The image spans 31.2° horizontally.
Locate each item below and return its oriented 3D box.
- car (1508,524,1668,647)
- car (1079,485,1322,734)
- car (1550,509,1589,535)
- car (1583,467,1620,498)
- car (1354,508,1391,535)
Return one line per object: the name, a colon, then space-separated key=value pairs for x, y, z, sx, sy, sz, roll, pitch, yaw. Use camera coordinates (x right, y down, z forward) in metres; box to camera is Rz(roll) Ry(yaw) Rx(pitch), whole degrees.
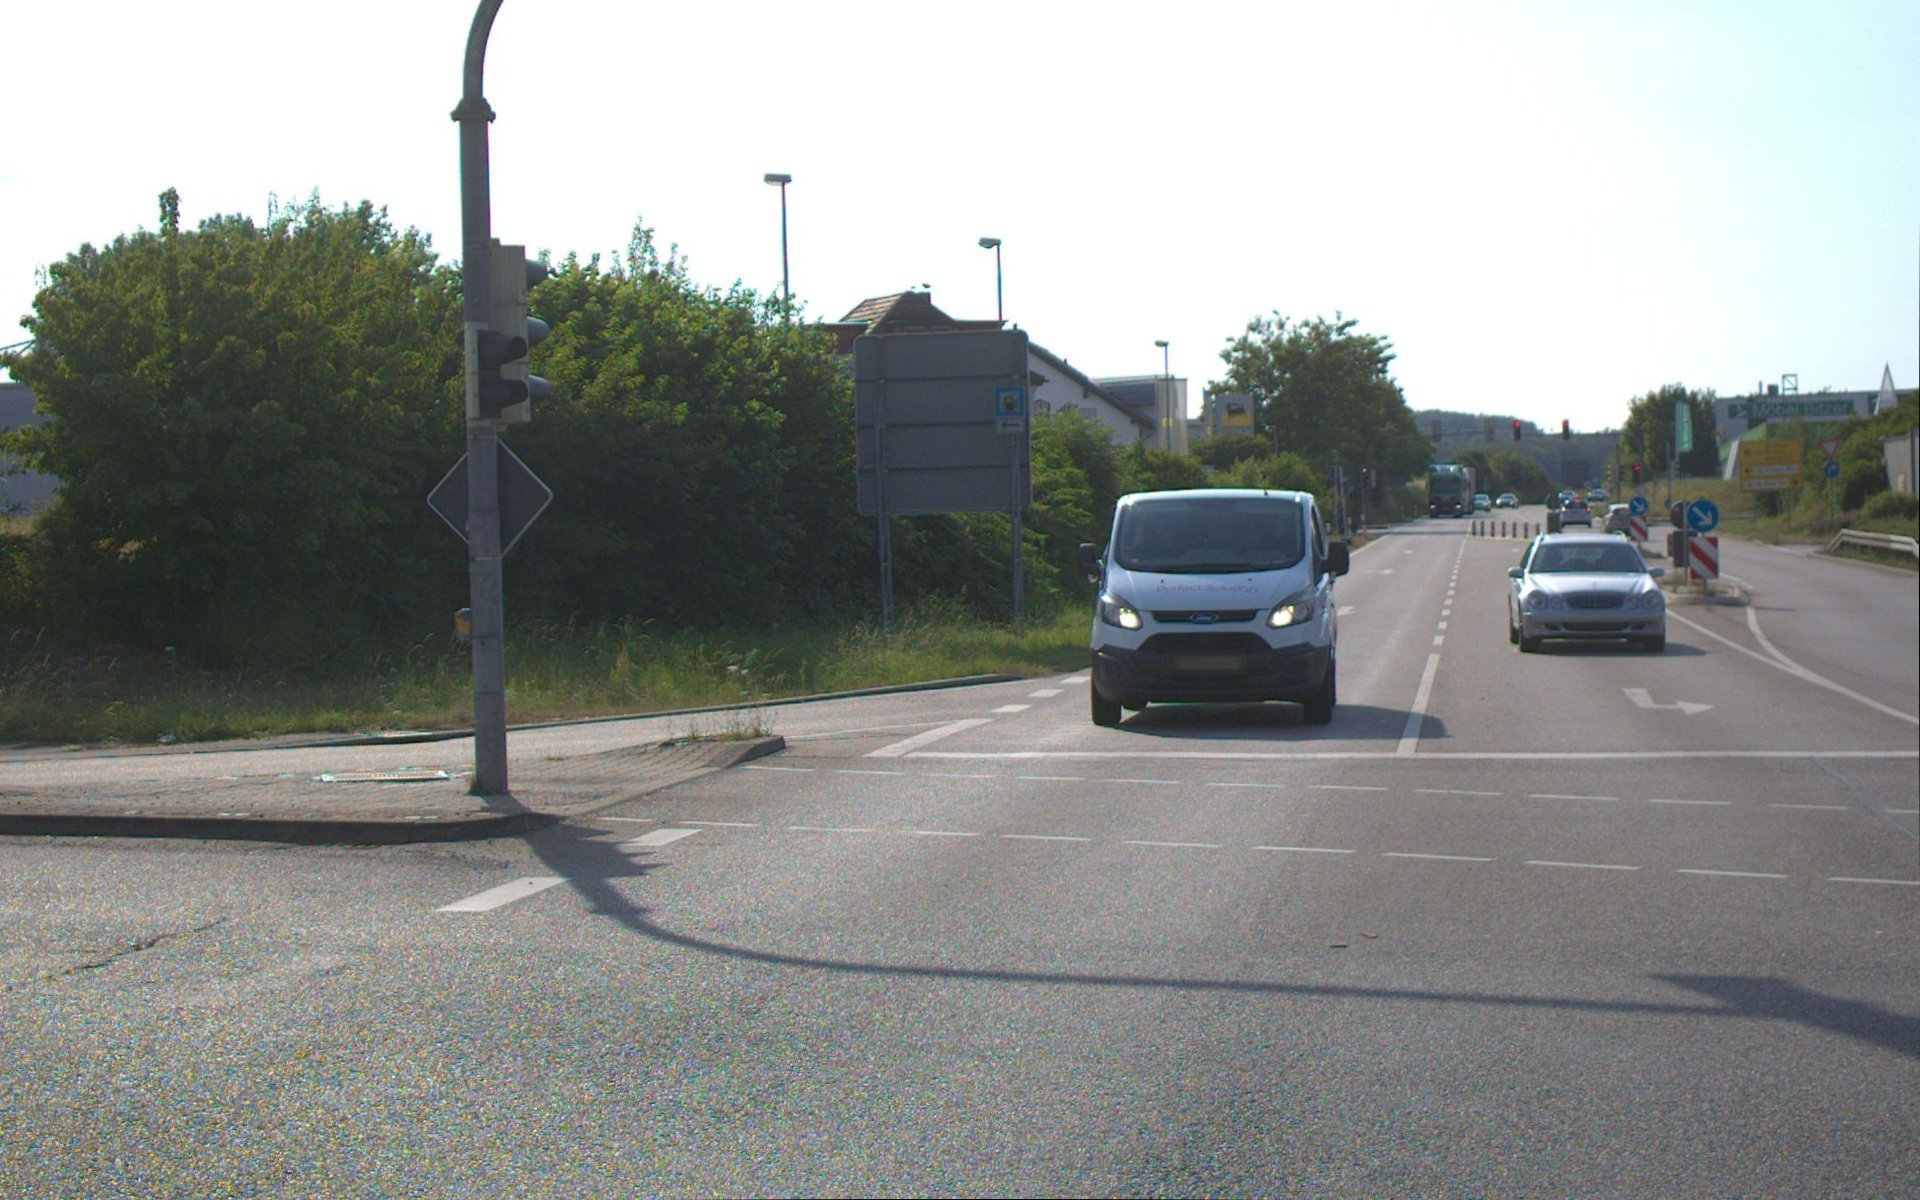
car: x=8.164 y=-0.189 z=45.018 sx=1.857 sy=1.508 sz=4.951 roll=1 pitch=0 yaw=8
car: x=2.150 y=-0.006 z=29.665 sx=1.901 sy=1.941 sz=4.818 roll=1 pitch=2 yaw=6
car: x=33.157 y=-4.223 z=187.131 sx=1.741 sy=1.347 sz=3.203 roll=1 pitch=0 yaw=4
car: x=43.805 y=-8.040 z=234.796 sx=1.994 sy=2.007 sz=3.999 roll=1 pitch=0 yaw=4
car: x=18.235 y=-3.470 z=152.036 sx=1.313 sy=1.145 sz=2.475 roll=0 pitch=0 yaw=0
